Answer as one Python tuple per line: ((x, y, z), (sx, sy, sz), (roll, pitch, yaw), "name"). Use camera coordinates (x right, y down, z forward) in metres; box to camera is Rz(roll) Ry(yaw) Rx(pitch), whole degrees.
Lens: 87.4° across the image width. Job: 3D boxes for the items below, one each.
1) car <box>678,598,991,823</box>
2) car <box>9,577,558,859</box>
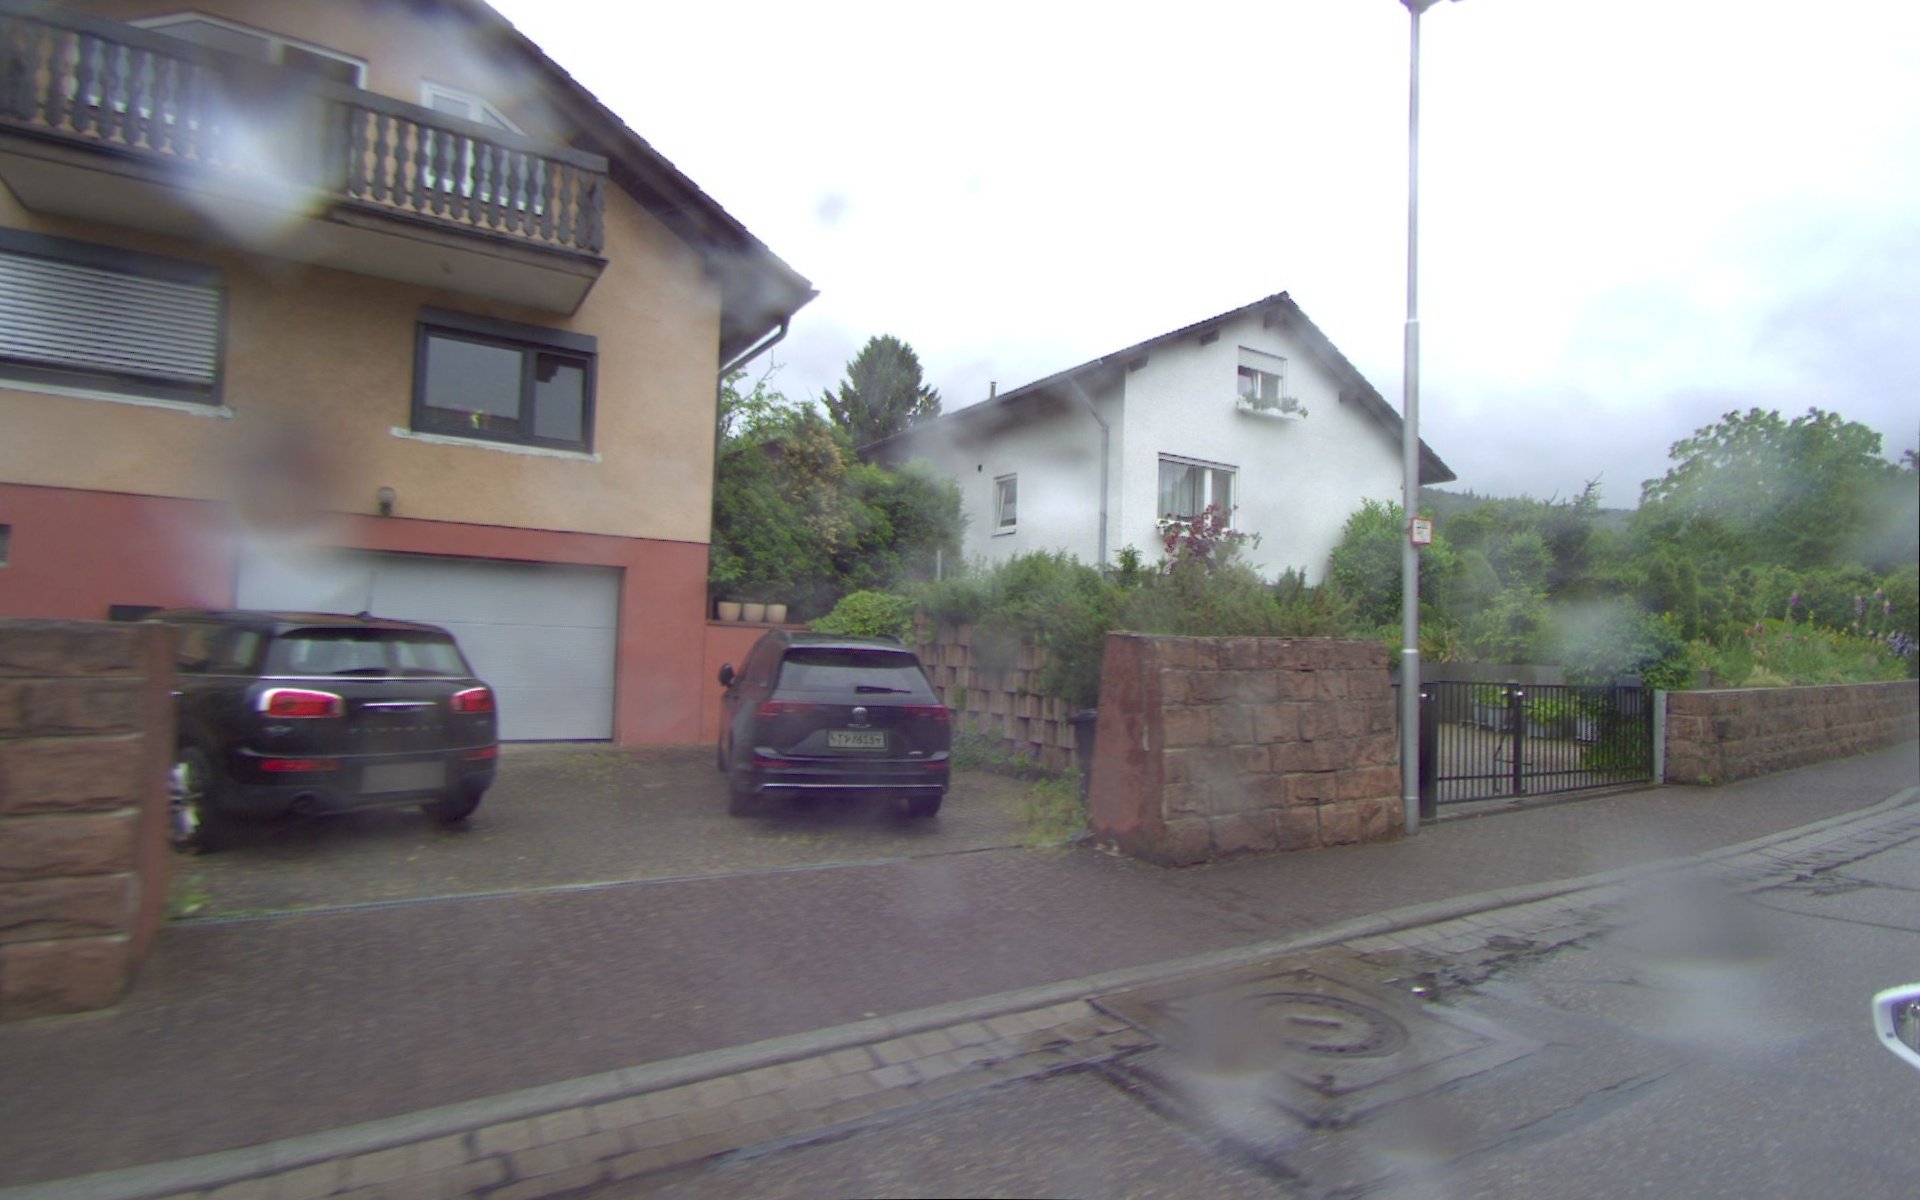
((-1.361, 0.843, 8.963), (1.969, 1.513, 3.984), (3, -2, -19), "car")
((-4.967, 0.670, 7.264), (3.931, 1.470, 1.810), (2, -3, 33), "car")
